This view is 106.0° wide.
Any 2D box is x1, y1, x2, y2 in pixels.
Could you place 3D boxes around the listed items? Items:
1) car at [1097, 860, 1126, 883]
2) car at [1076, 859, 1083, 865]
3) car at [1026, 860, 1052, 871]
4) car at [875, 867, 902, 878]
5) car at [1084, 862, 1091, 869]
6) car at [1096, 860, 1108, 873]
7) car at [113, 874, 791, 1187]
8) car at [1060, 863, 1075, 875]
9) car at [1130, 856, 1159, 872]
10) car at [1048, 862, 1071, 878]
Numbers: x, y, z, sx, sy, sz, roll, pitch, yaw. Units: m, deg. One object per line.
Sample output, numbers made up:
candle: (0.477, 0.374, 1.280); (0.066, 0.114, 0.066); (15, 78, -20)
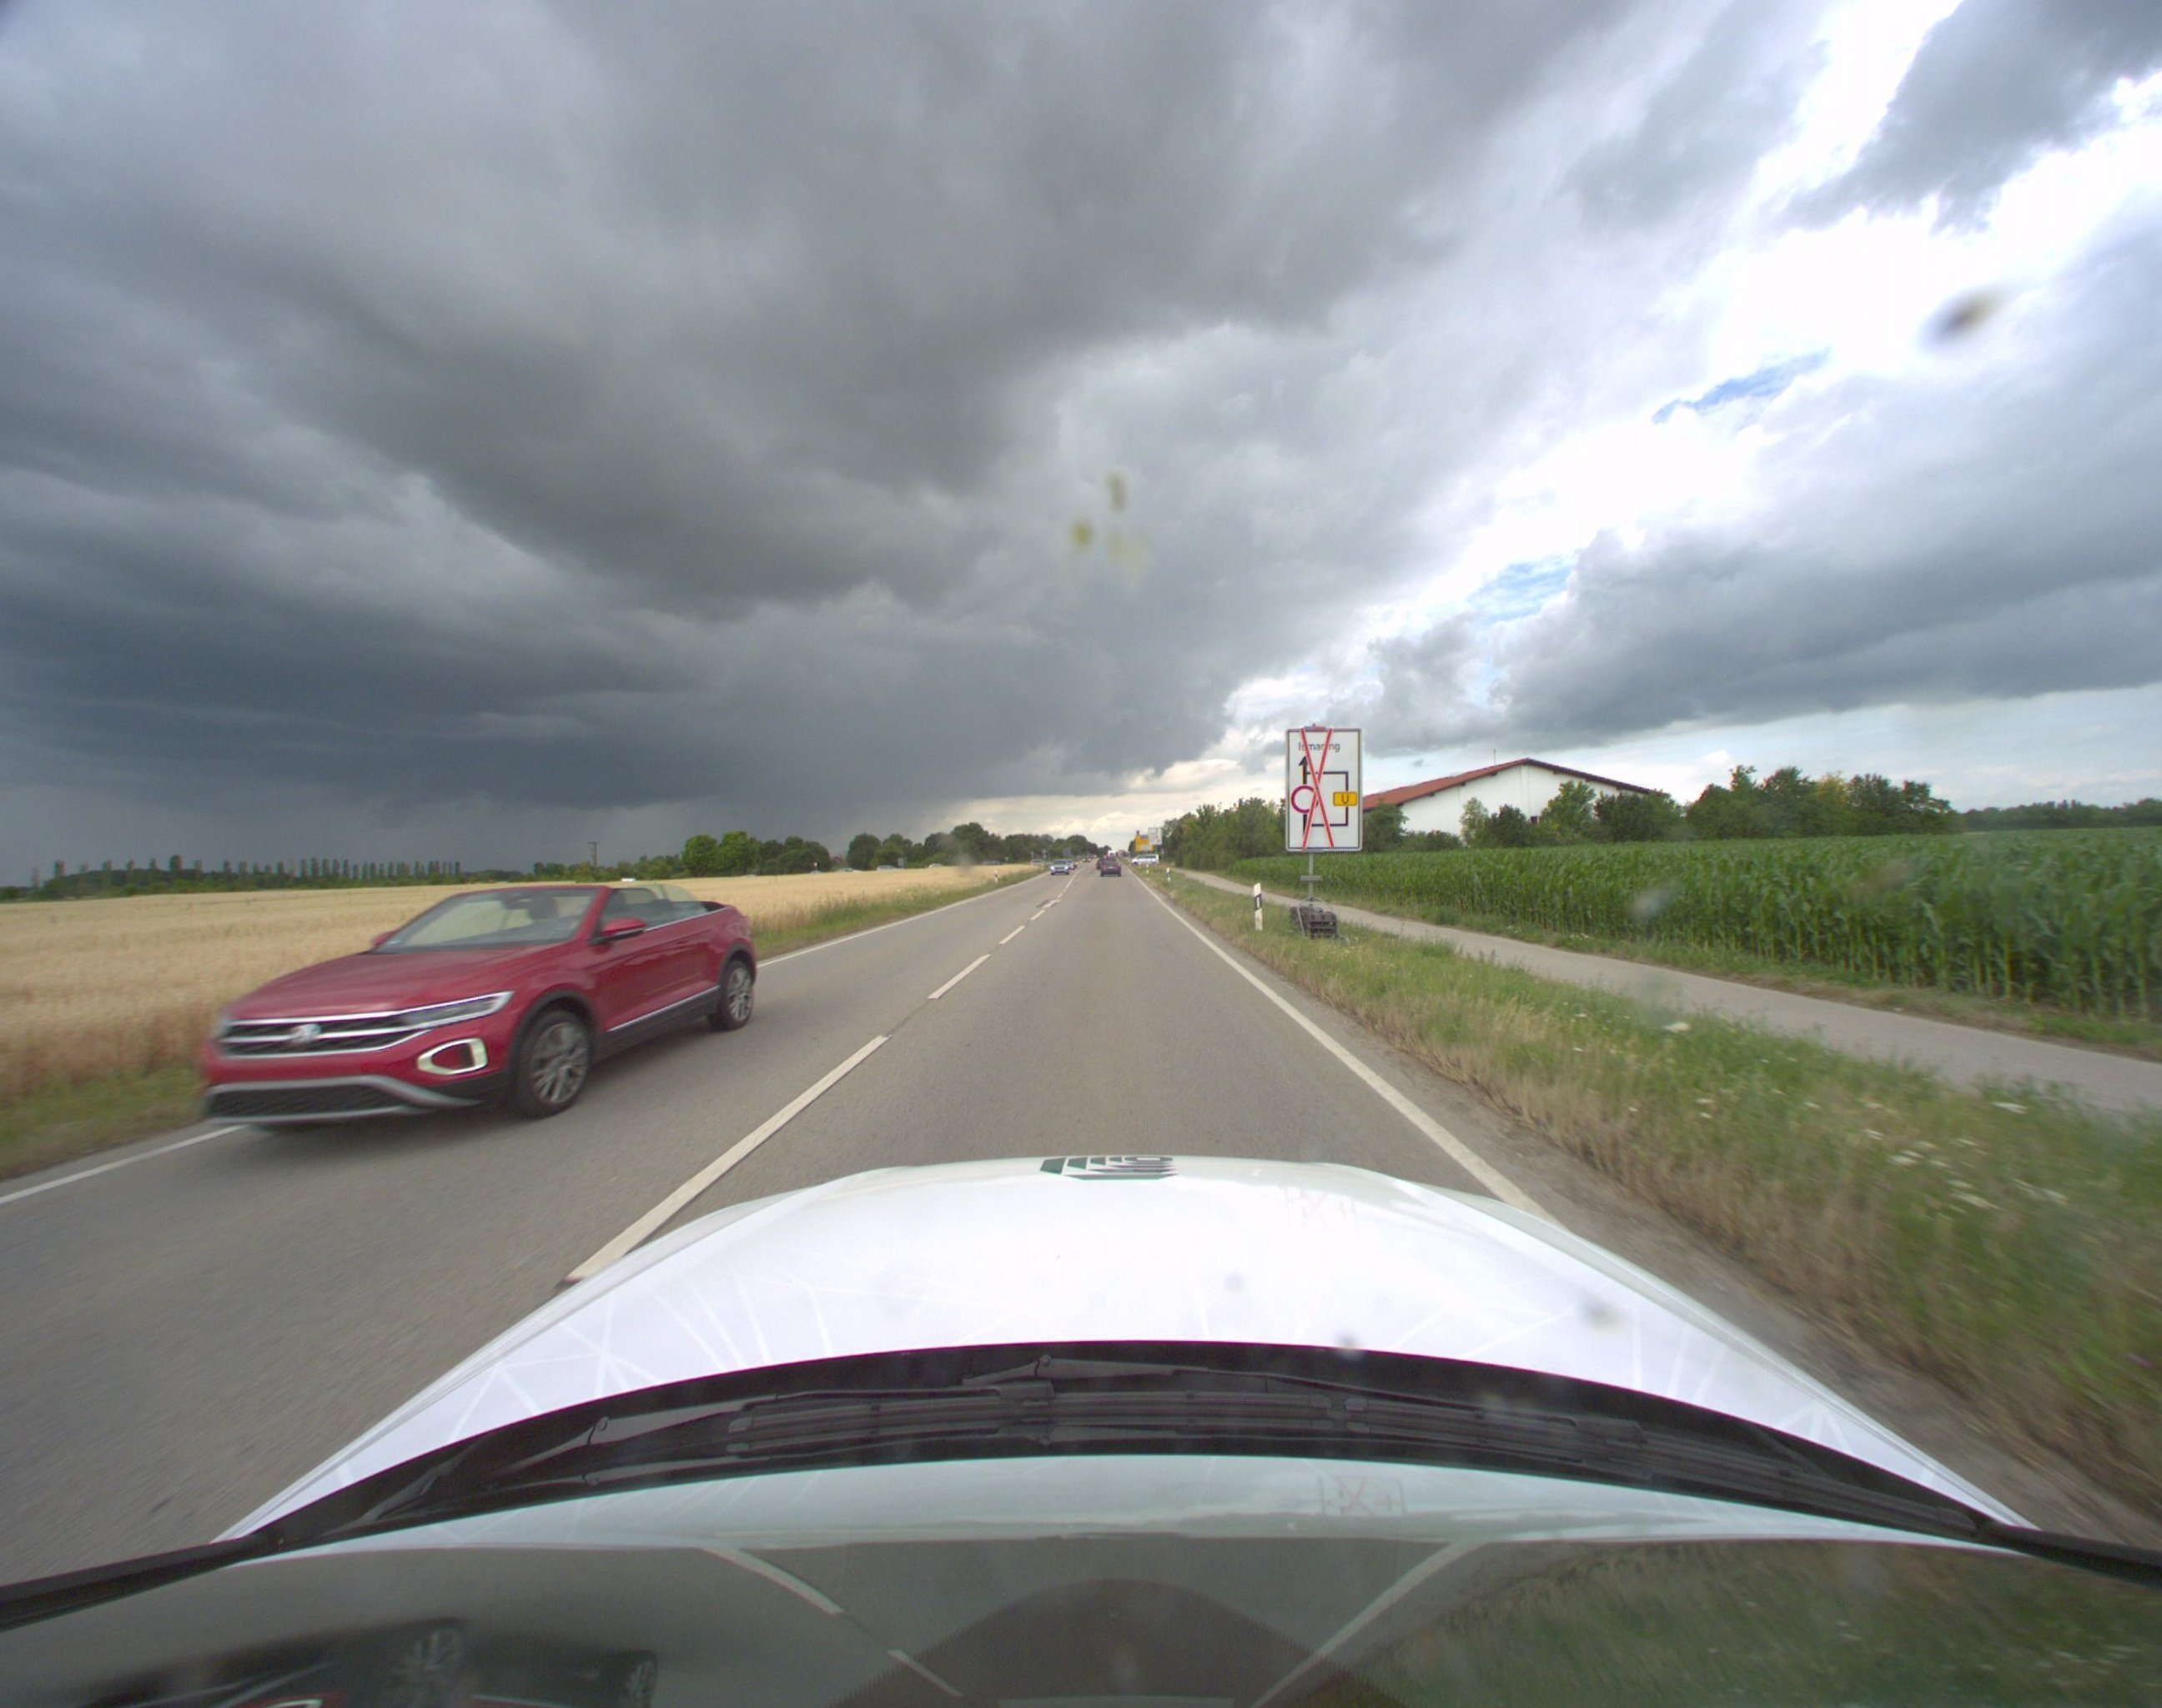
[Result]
car: (2.730, 1.571, 73.729); (2.365, 1.880, 4.476); (-4, -1, 0)
car: (-0.474, 2.247, 220.795); (1.639, 1.590, 4.002); (-2, -1, 2)
car: (-7.167, 1.996, 138.993); (4.403, 1.649, 1.500); (-2, -1, -3)
car: (-33.392, 3.223, 141.189); (4.051, 1.649, 1.869); (-2, -1, 6)
car: (1.580, 2.776, 201.611); (1.639, 1.590, 4.002); (-2, -1, 2)
car: (2.982, 1.683, 113.079); (1.565, 1.701, 4.002); (-2, -1, 2)
car: (-4.104, 0.979, 6.541); (1.706, 1.488, 4.610); (-2, -1, 2)
car: (-1.888, 2.061, 113.780); (1.760, 1.601, 4.932); (-2, -1, 2)
car: (11.061, 1.756, 142.844); (4.822, 2.452, 2.004); (-2, -1, -1)
car: (-2.245, 1.651, 86.471); (2.057, 1.580, 4.767); (-3, -1, 2)
